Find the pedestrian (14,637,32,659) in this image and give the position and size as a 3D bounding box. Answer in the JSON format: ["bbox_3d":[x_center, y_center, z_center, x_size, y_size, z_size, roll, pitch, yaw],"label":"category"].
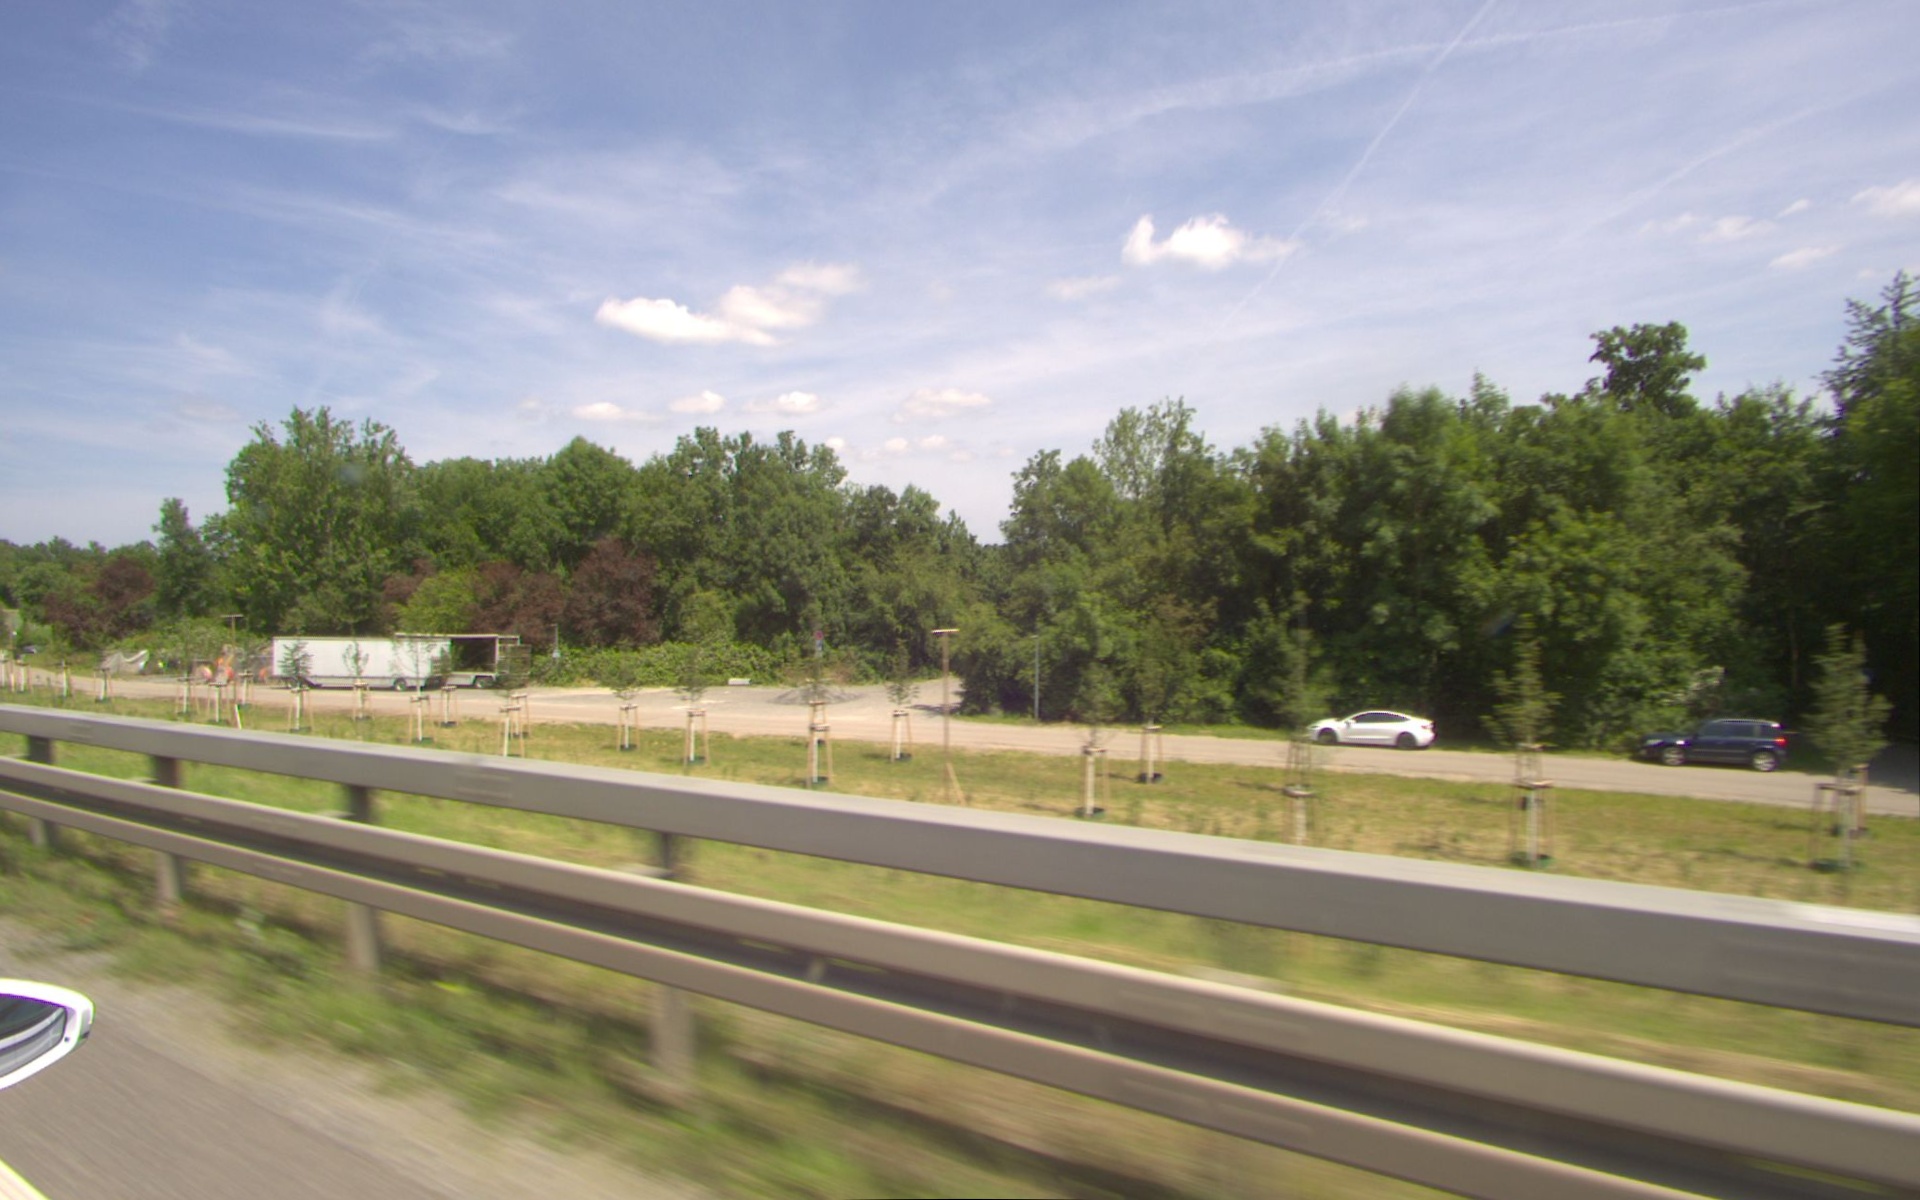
[{"bbox_3d":[-79.620,4.069,85.092,0.946,1.836,0.882,1,3,35],"label":"pedestrian"}]

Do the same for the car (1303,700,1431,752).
[{"bbox_3d":[15.944,4.898,39.316,4.532,1.503,1.856,0,3,25],"label":"car"}]

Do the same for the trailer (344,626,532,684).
[{"bbox_3d":[-35.078,3.664,67.355,11.665,3.652,2.728,1,-1,7],"label":"trailer"}]

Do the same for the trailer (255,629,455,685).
[{"bbox_3d":[-39.004,3.648,64.709,11.663,3.371,2.728,1,0,5],"label":"trailer"}]

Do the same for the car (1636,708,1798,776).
[{"bbox_3d":[25.981,4.847,34.548,4.132,1.706,1.855,1,3,27],"label":"car"}]
